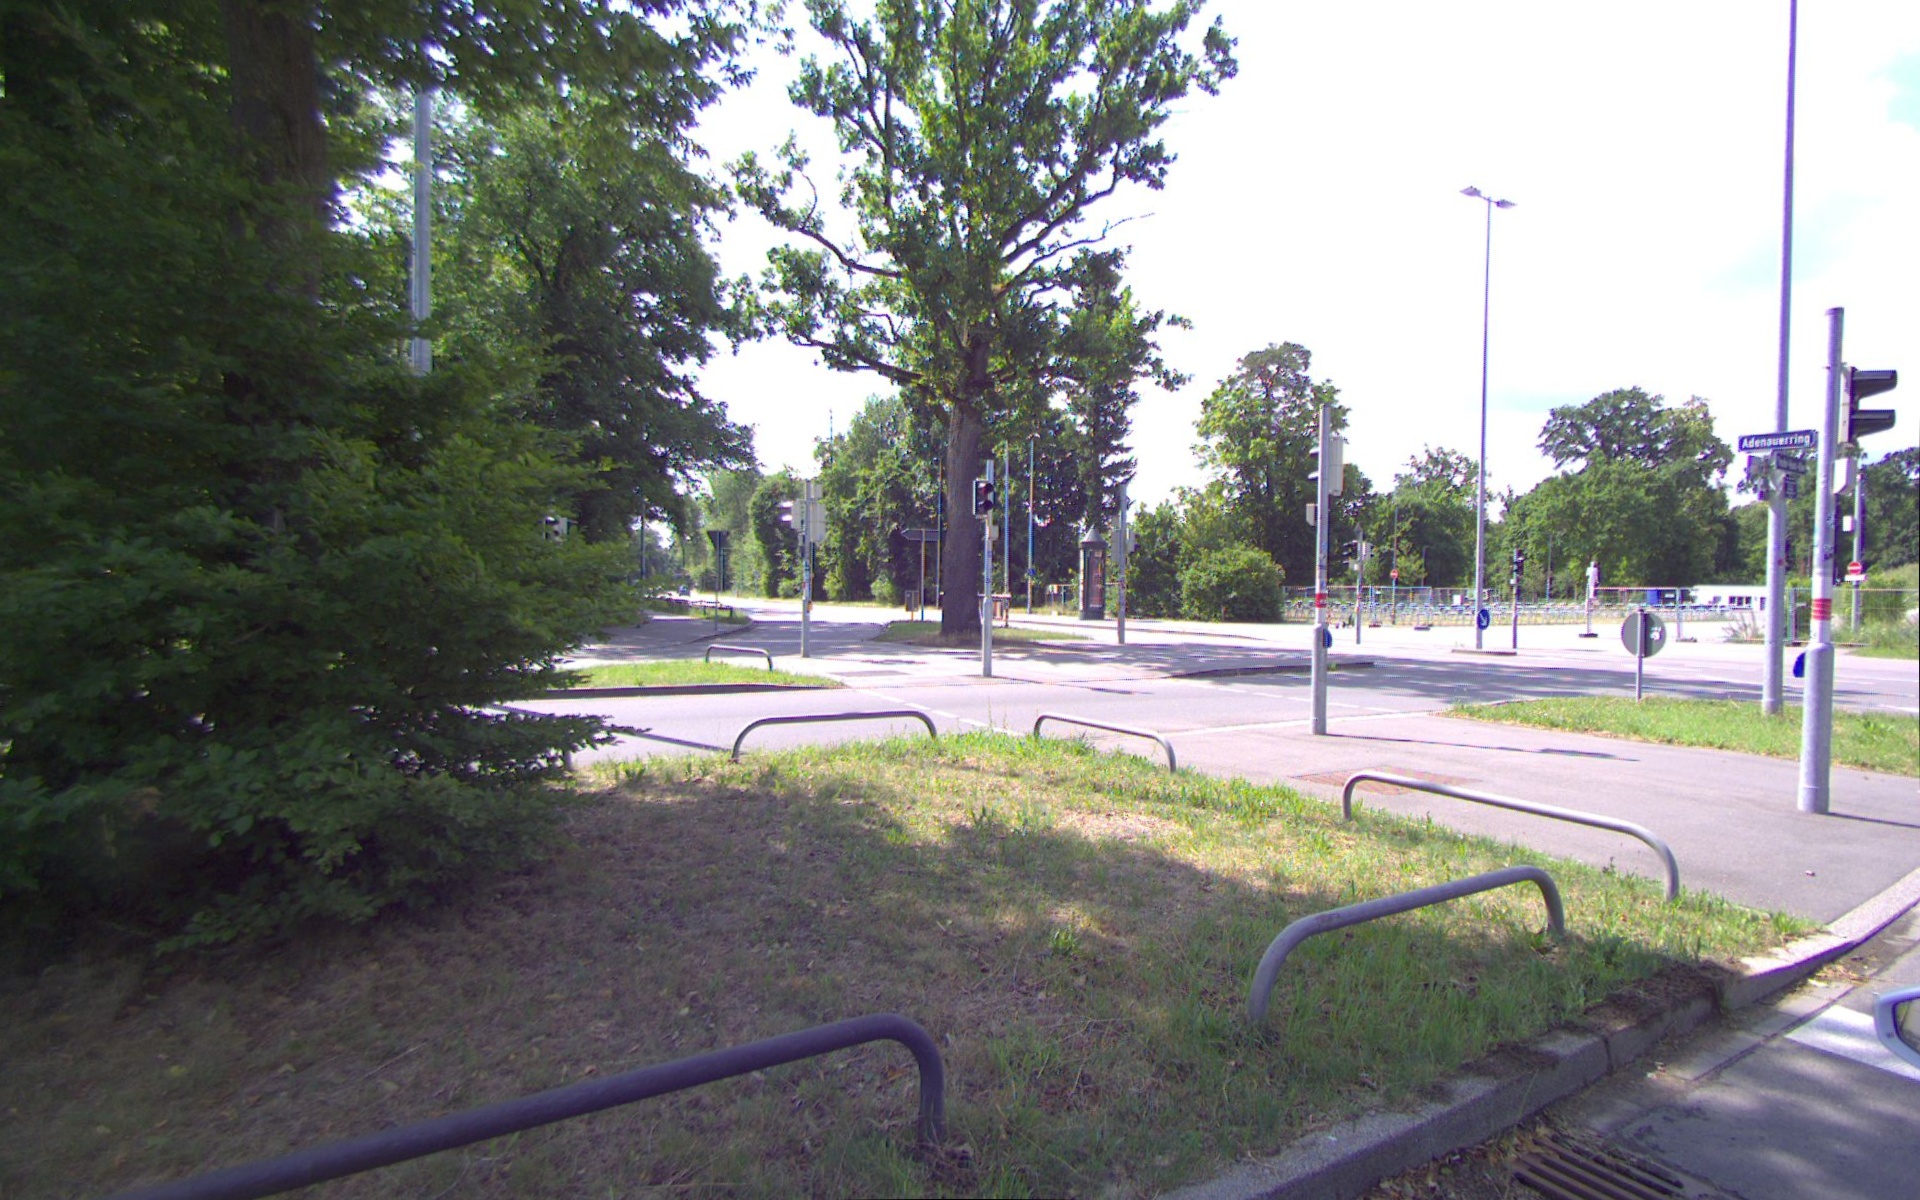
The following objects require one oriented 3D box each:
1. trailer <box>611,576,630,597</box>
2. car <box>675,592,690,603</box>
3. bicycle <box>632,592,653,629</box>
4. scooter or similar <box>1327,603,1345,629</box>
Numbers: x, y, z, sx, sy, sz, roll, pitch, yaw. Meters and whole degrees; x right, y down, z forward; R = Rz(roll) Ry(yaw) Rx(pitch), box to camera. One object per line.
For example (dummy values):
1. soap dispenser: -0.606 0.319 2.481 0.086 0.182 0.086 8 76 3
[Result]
1. trailer: -42.474 -1.681 125.785 1.971 2.420 3.979 2 0 -22
2. car: -42.811 -0.369 154.972 1.845 1.529 4.025 2 0 -22
3. bicycle: -10.353 0.337 32.783 0.413 1.189 1.228 2 0 -8
4. scooter or similar: 18.373 0.778 49.111 0.399 1.216 1.312 0 1 0
